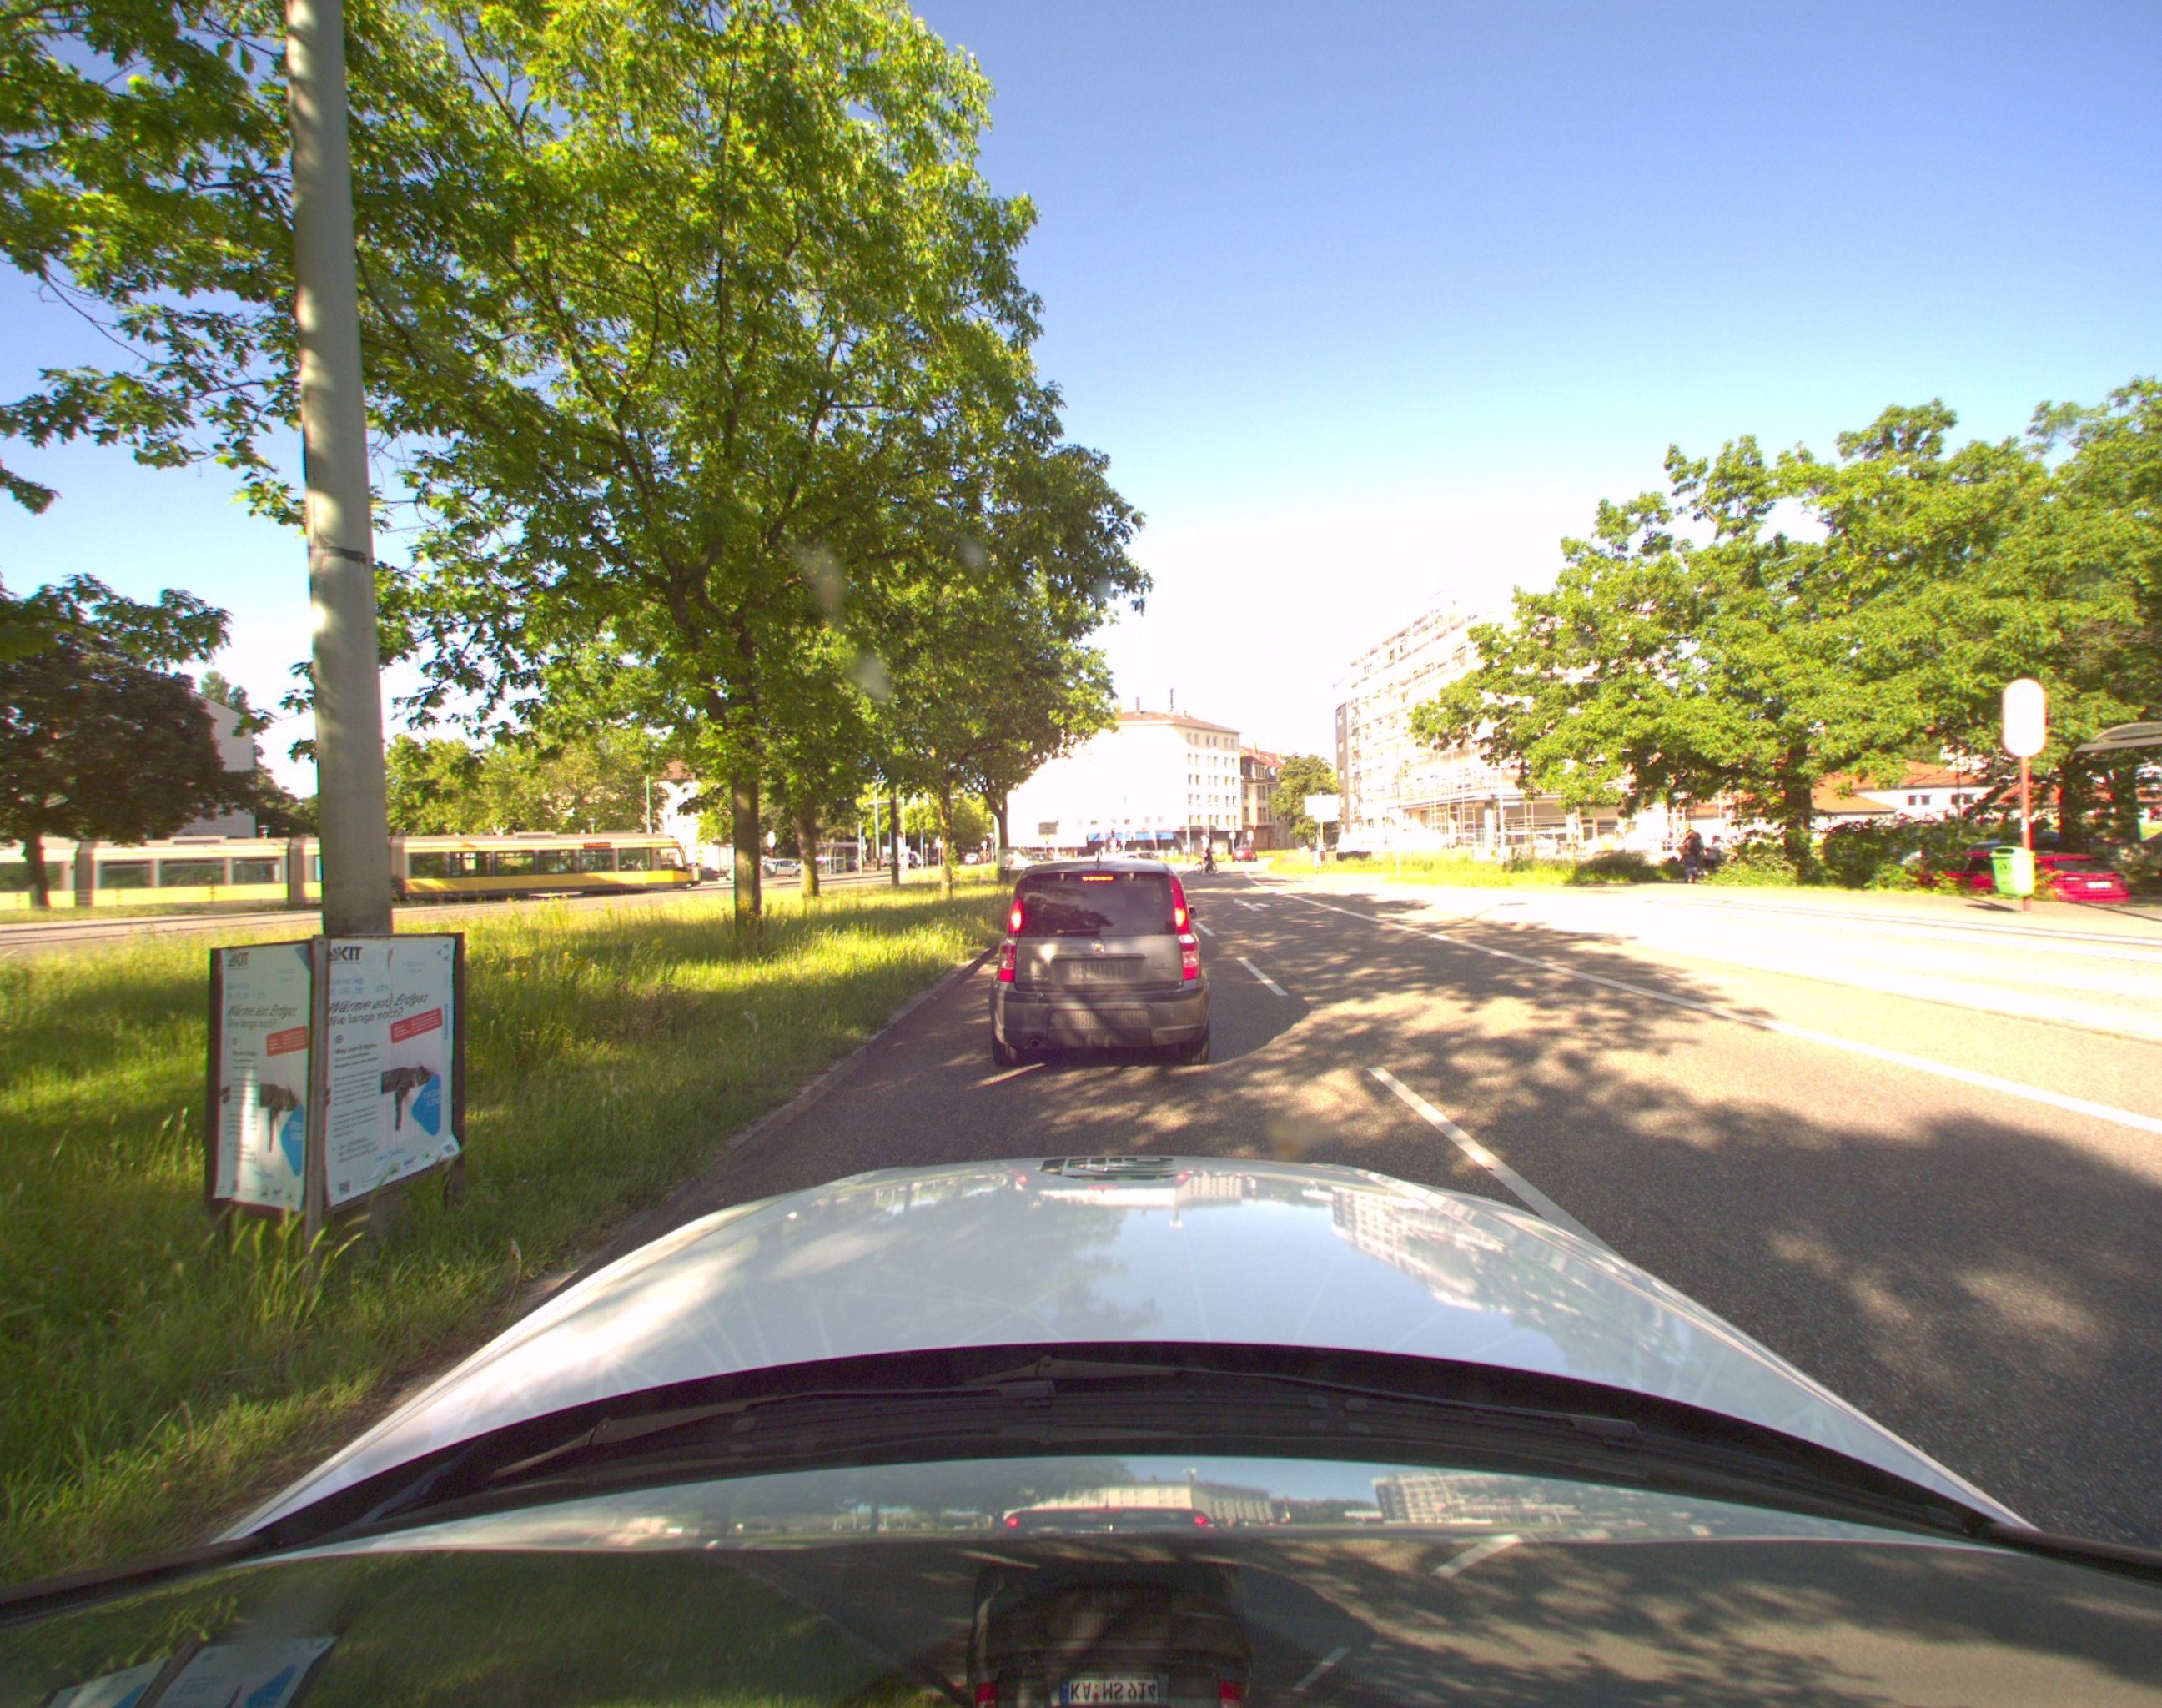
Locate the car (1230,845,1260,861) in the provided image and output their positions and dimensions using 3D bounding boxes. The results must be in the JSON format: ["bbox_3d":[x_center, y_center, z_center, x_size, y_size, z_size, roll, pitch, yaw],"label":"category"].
[{"bbox_3d":[15.536,-0.128,76.909,1.870,1.428,4.411,-2,0,22],"label":"car"}]

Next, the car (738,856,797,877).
[{"bbox_3d":[-27.320,1.073,71.059,1.974,1.684,4.348,-2,0,40],"label":"car"}]

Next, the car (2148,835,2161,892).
[{"bbox_3d":[29.864,0.219,20.174,1.911,1.486,3.725,-2,0,-17],"label":"car"}]

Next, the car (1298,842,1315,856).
[{"bbox_3d":[24.912,-0.535,89.992,1.669,1.449,3.588,-2,0,18],"label":"car"}]

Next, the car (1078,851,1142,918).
[{"bbox_3d":[0.728,0.699,20.788,1.458,1.508,3.506,-2,0,2],"label":"car"}]

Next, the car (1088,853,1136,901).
[{"bbox_3d":[1.031,0.728,27.391,1.458,1.424,3.383,-2,0,2],"label":"car"}]

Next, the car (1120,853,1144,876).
[{"bbox_3d":[3.096,0.622,49.677,1.351,1.281,2.877,-2,0,2],"label":"car"}]

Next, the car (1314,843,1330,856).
[{"bbox_3d":[27.738,-0.532,93.554,1.514,1.314,3.304,-2,0,20],"label":"car"}]

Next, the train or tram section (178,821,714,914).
[{"bbox_3d":[-30.315,0.386,41.511,20.876,3.770,3.274,-2,0,-31],"label":"train or tram section"}]

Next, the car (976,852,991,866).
[{"bbox_3d":[-14.845,0.759,124.152,1.988,2.013,3.997,-2,0,-2],"label":"car"}]

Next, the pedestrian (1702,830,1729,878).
[{"bbox_3d":[19.367,-0.012,24.872,0.516,1.447,0.595,-2,0,28],"label":"pedestrian"}]

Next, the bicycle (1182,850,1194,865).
[{"bbox_3d":[9.102,0.302,69.534,0.706,1.198,2.520,0,-1,1],"label":"bicycle"}]

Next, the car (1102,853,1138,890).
[{"bbox_3d":[1.603,0.694,33.961,1.351,1.449,3.267,-2,0,2],"label":"car"}]

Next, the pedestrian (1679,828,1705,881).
[{"bbox_3d":[18.586,0.014,24.775,0.516,1.612,0.595,-2,0,28],"label":"pedestrian"}]

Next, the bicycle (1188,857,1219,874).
[{"bbox_3d":[7.133,0.671,47.516,0.563,0.945,1.774,-2,0,-42],"label":"bicycle"}]

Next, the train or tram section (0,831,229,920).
[{"bbox_3d":[-48.338,1.066,33.350,19.364,3.513,3.288,-2,0,-17],"label":"train or tram section"}]

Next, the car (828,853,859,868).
[{"bbox_3d":[-34.293,0.866,117.456,4.006,2.013,1.984,-2,0,-24],"label":"car"}]

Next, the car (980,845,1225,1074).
[{"bbox_3d":[0.208,0.704,7.529,1.622,1.508,4.002,-2,0,2],"label":"car"}]

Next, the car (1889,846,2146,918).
[{"bbox_3d":[21.989,0.598,19.370,1.747,1.486,3.743,-2,0,-2],"label":"car"}]

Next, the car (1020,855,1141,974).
[{"bbox_3d":[0.052,0.748,11.756,1.458,1.401,3.395,-2,0,2],"label":"car"}]

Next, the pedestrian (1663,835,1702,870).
[{"bbox_3d":[25.709,-0.079,34.813,0.893,1.447,0.962,-2,0,-13],"label":"pedestrian"}]

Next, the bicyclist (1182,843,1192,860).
[{"bbox_3d":[9.072,-0.177,69.580,0.739,1.438,0.845,0,-1,1],"label":"bicyclist"}]

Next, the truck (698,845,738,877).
[{"bbox_3d":[-33.077,0.637,74.194,2.012,2.805,3.951,-2,0,-44],"label":"truck"}]

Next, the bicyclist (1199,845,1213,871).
[{"bbox_3d":[7.276,0.236,47.327,0.553,1.493,0.578,-2,0,-41],"label":"bicyclist"}]

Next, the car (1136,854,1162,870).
[{"bbox_3d":[4.865,0.577,57.710,1.133,1.064,2.735,-2,0,19],"label":"car"}]

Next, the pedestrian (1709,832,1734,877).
[{"bbox_3d":[20.860,0.016,26.541,0.516,1.447,0.595,-2,0,28],"label":"pedestrian"}]
